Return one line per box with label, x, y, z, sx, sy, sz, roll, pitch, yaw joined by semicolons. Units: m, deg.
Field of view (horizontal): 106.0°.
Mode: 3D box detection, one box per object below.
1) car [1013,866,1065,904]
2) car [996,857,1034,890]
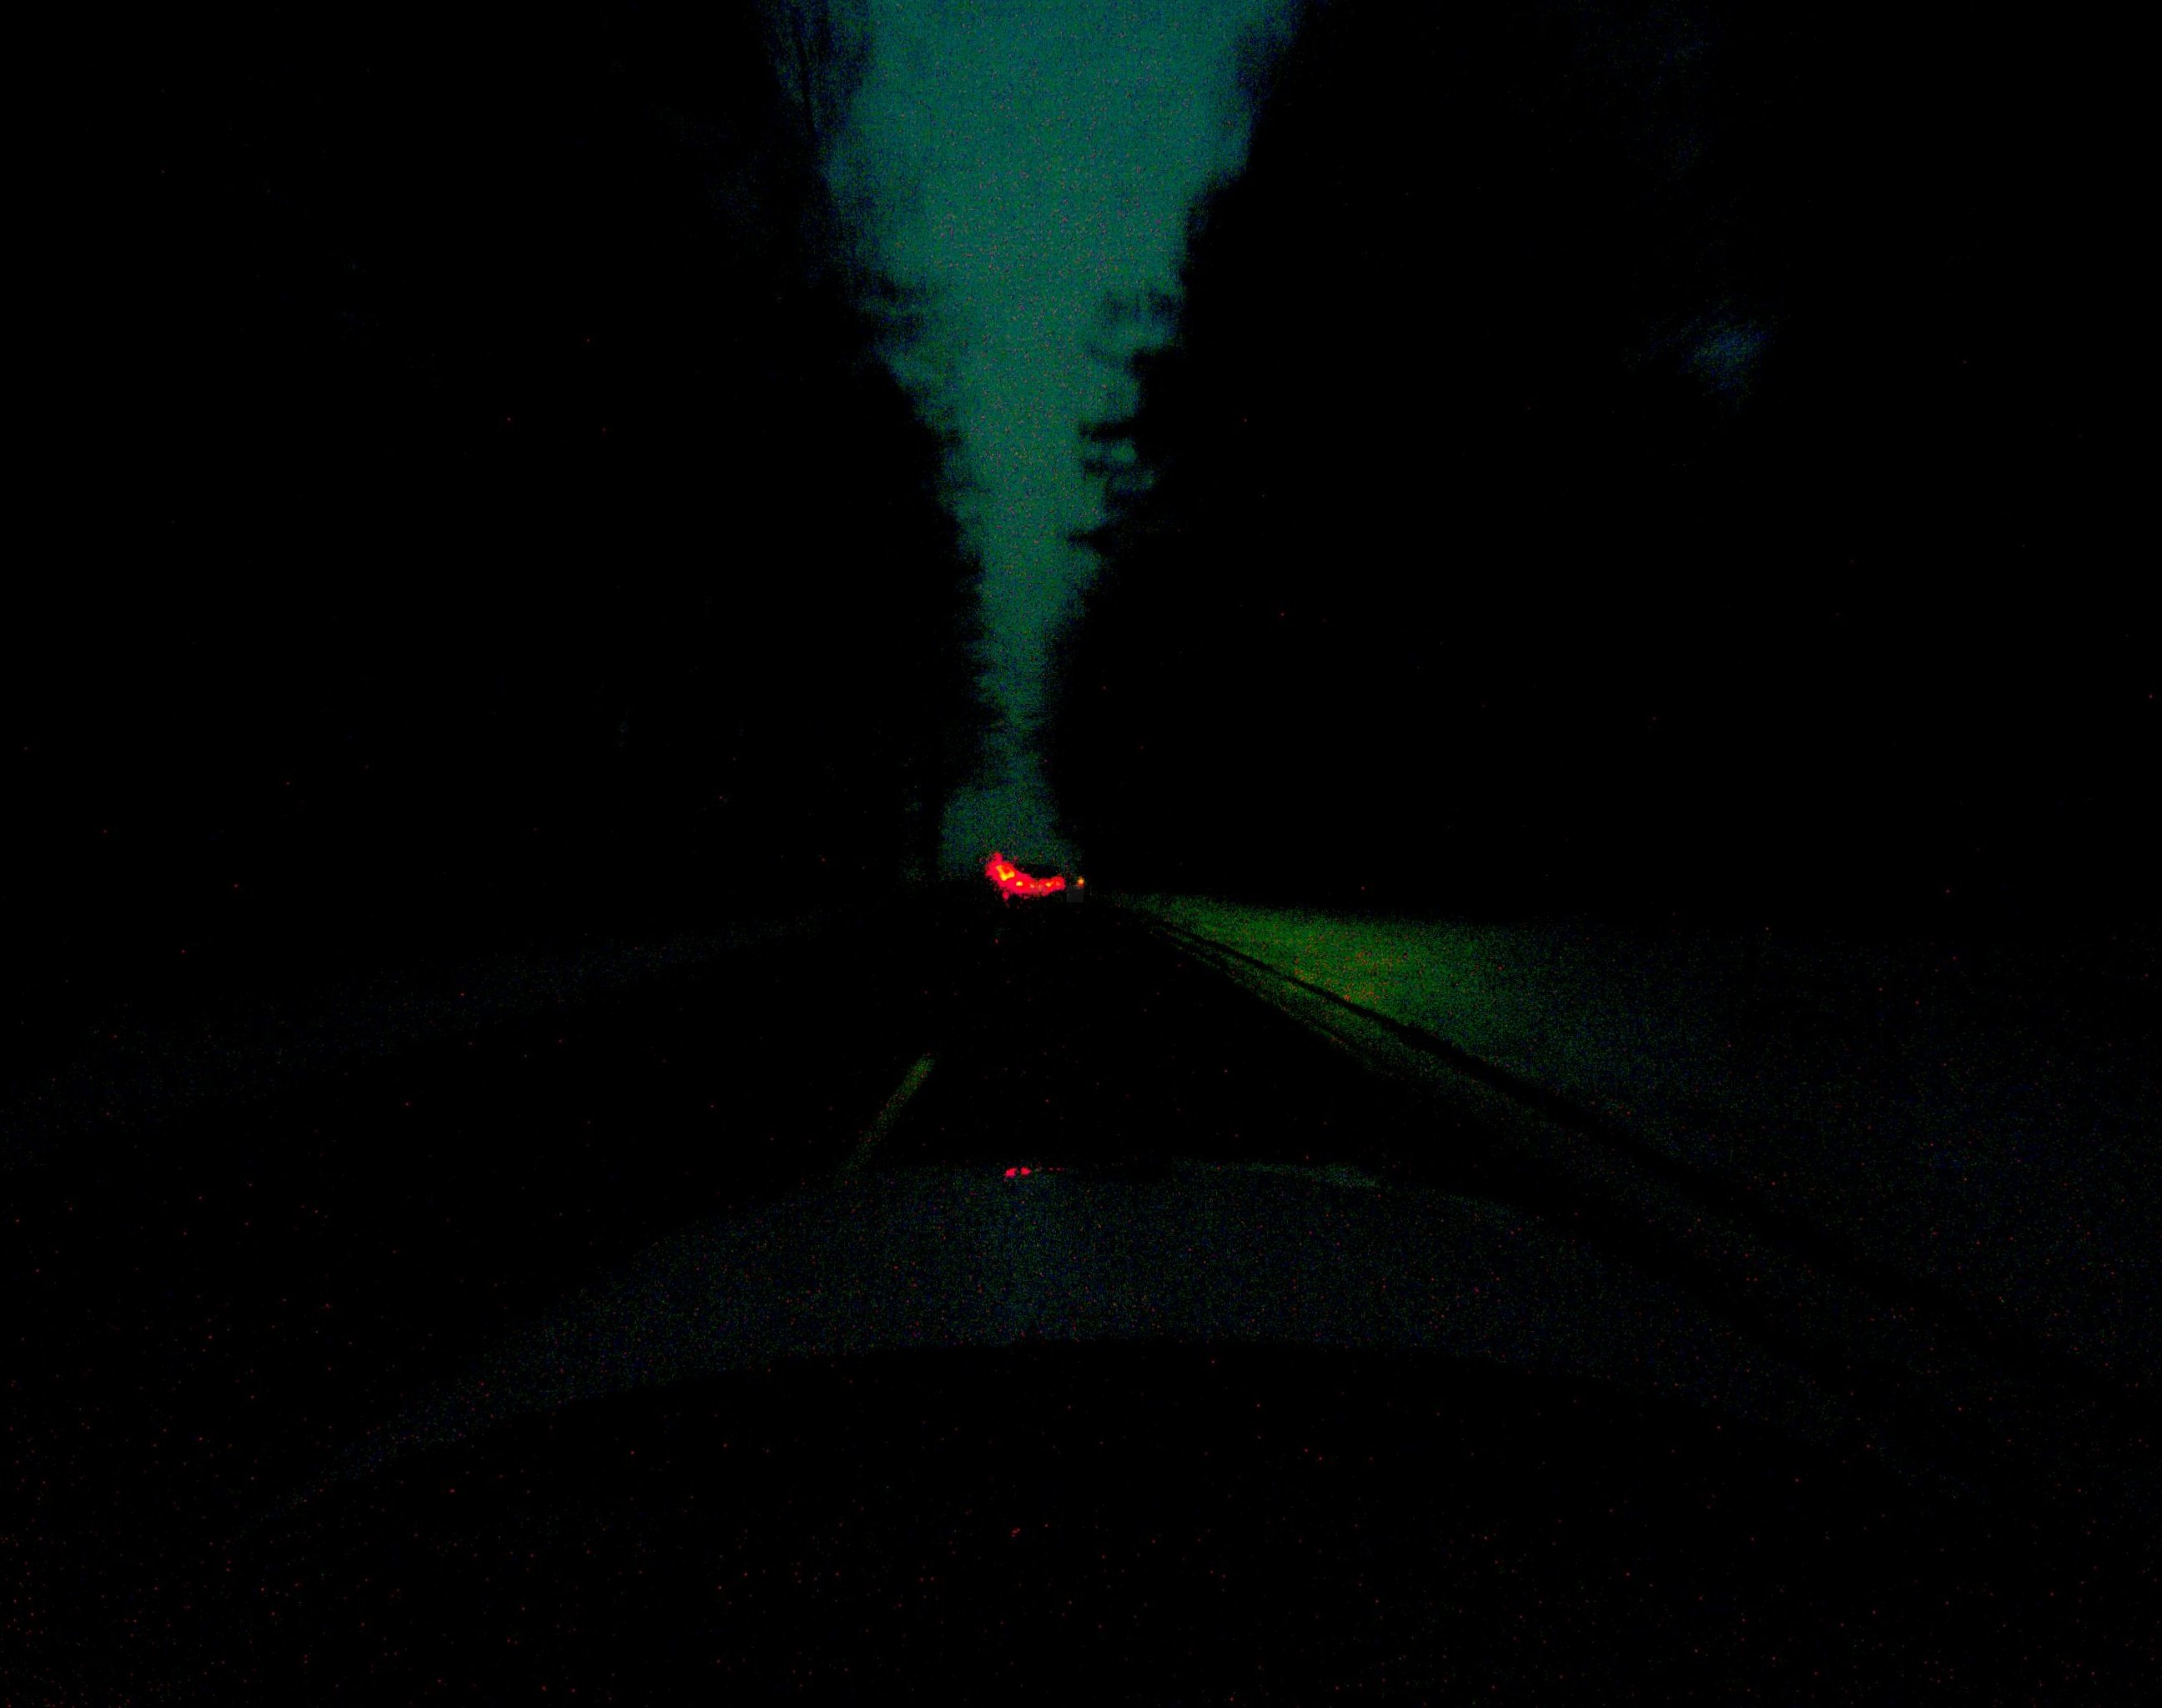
car;-1.741;1.202;32.666;1.942;1.381;3.993;2;-1;-5
car;-3.958;1.141;48.330;1.991;1.783;3.990;4;-1;-7
